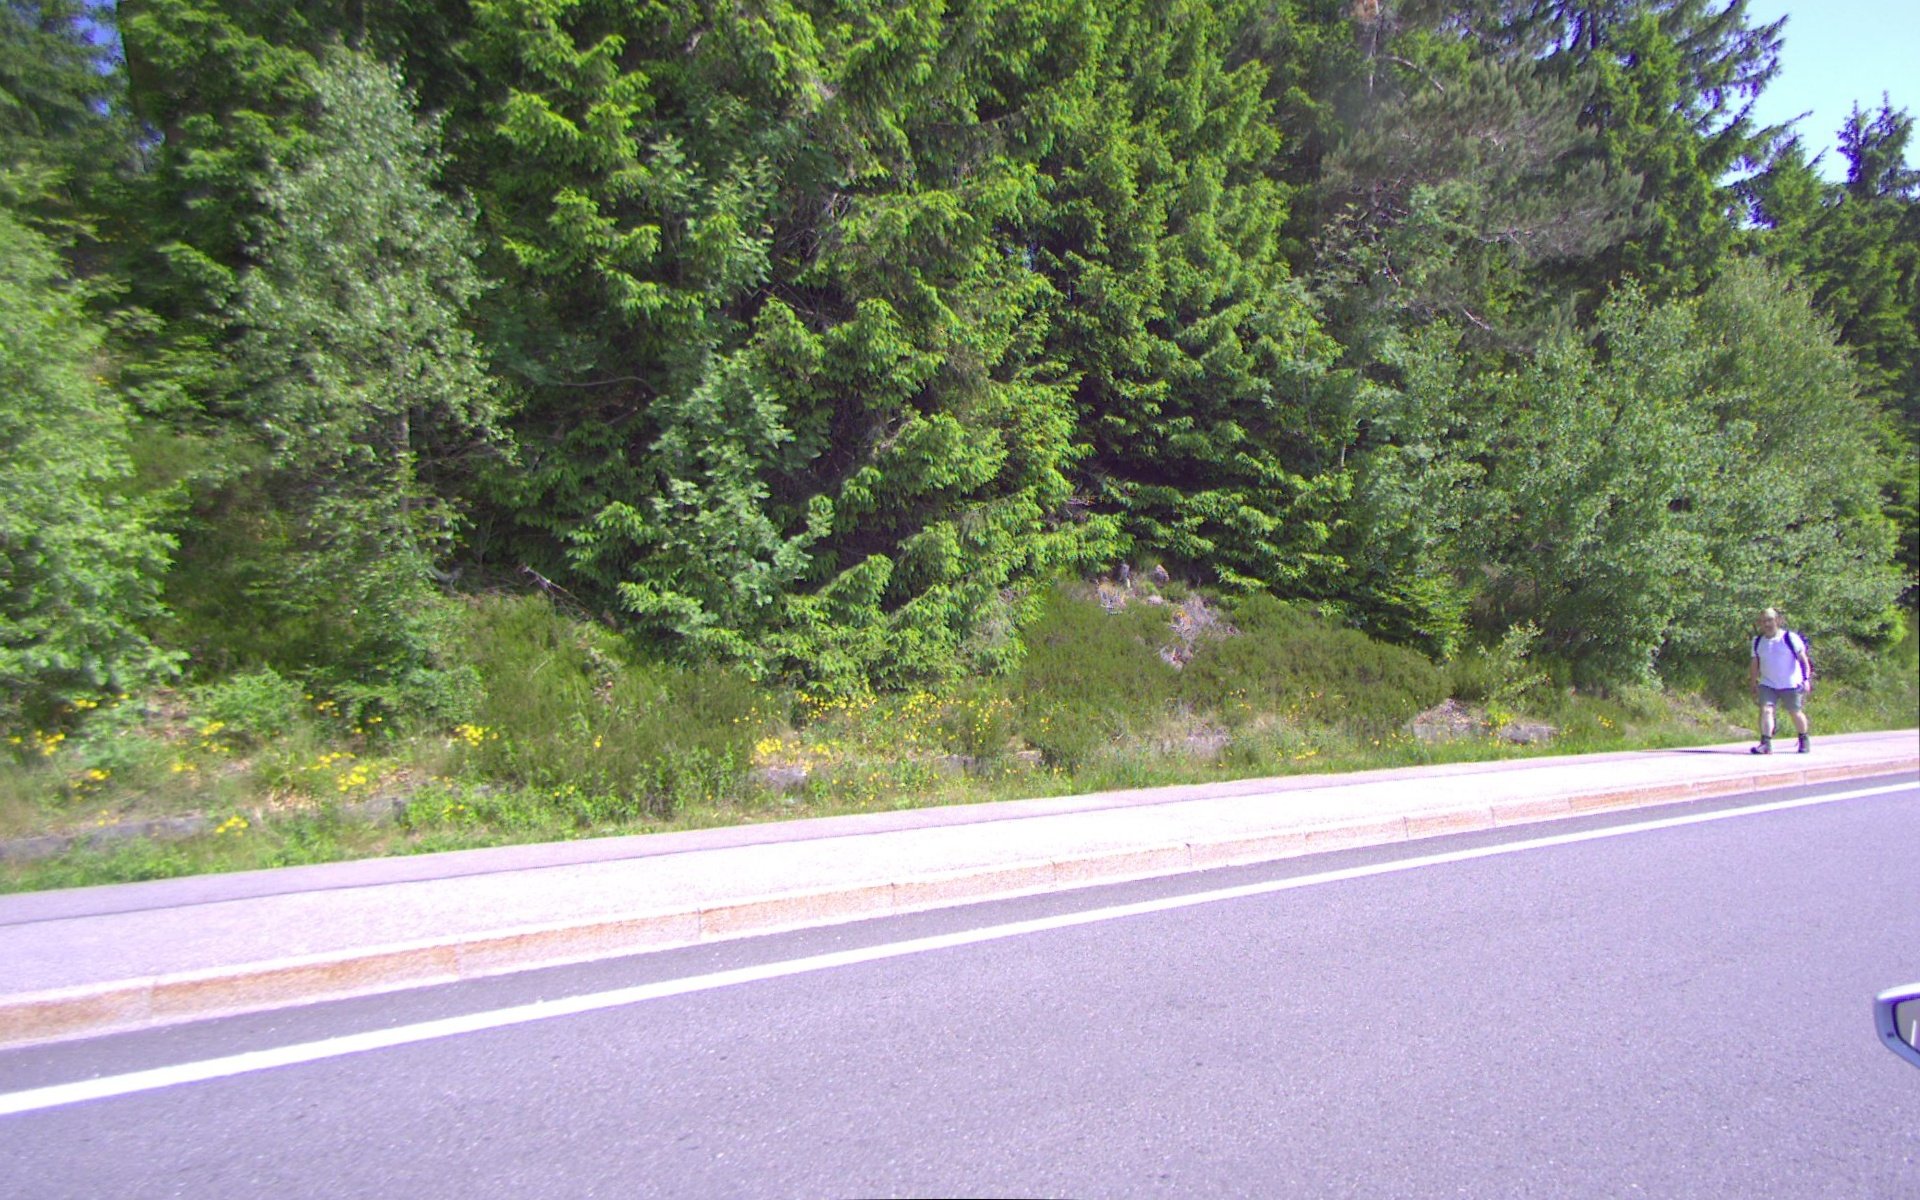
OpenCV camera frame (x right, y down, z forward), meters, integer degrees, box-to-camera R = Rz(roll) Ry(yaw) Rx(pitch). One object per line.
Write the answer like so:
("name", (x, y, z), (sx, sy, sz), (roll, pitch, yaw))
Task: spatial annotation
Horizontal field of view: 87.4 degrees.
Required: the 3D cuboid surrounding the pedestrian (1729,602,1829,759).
("pedestrian", (9.654, 0.920, 11.841), (0.816, 1.769, 0.679), (1, -1, -31))
